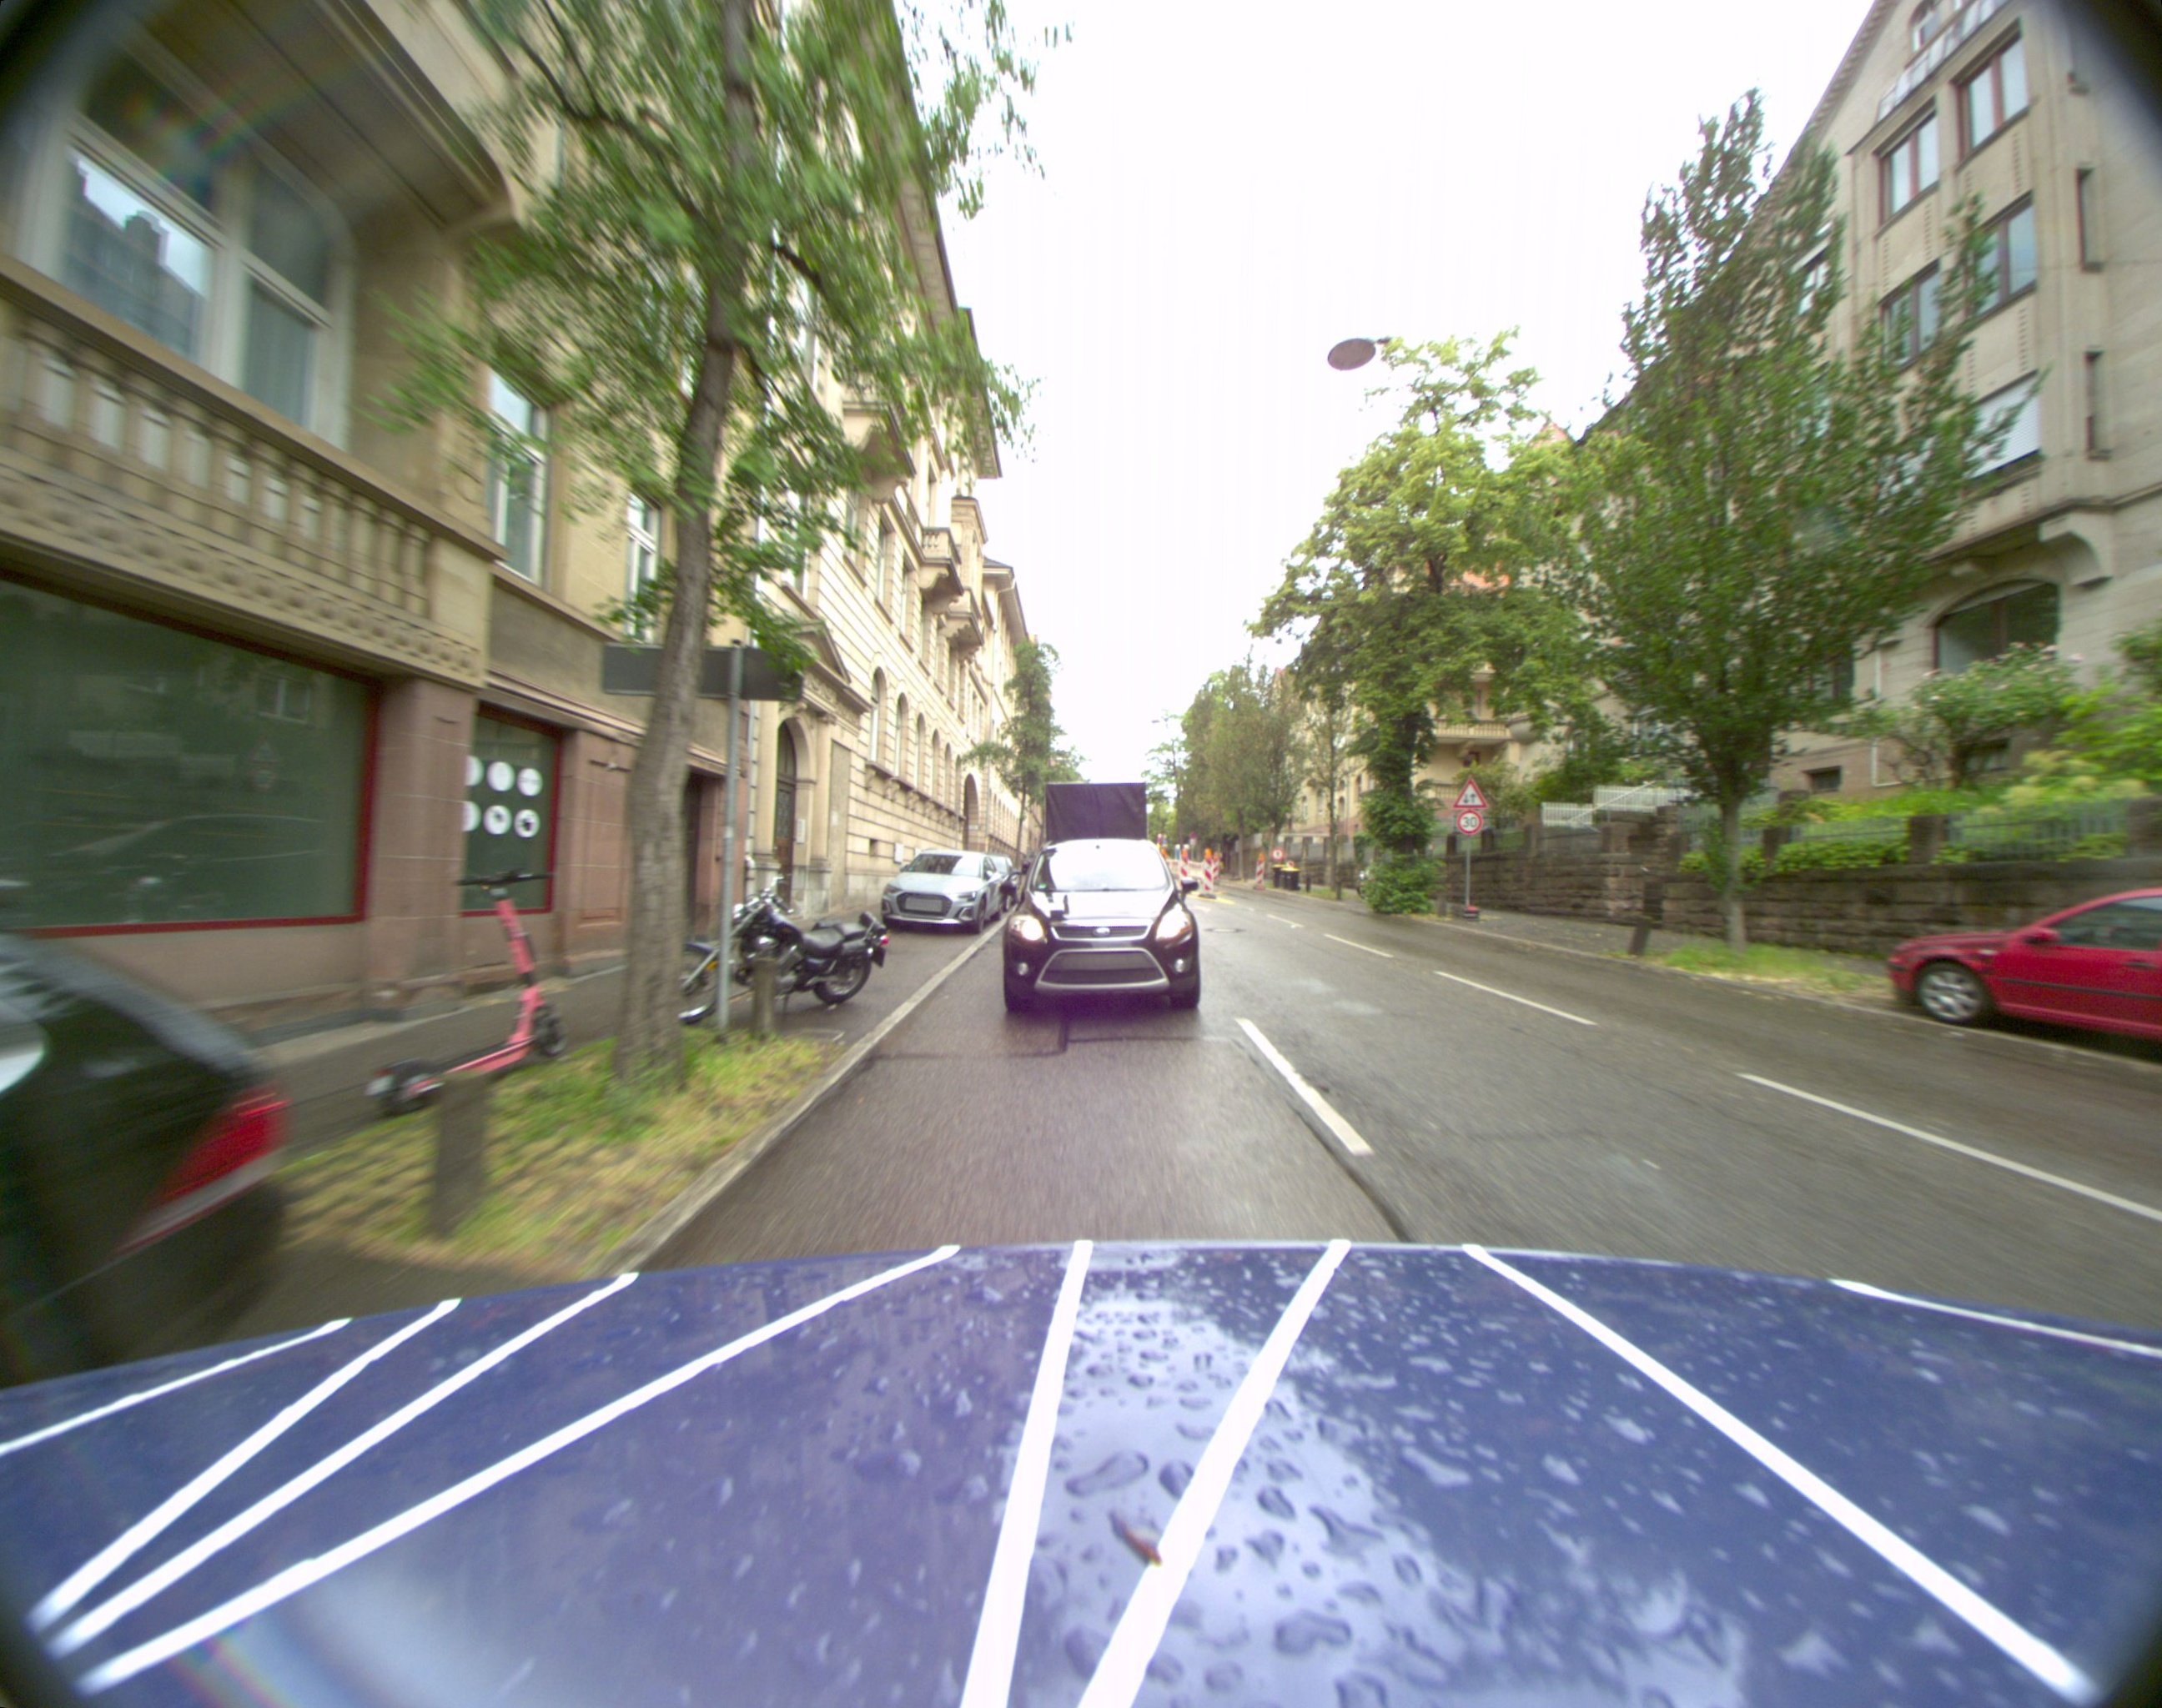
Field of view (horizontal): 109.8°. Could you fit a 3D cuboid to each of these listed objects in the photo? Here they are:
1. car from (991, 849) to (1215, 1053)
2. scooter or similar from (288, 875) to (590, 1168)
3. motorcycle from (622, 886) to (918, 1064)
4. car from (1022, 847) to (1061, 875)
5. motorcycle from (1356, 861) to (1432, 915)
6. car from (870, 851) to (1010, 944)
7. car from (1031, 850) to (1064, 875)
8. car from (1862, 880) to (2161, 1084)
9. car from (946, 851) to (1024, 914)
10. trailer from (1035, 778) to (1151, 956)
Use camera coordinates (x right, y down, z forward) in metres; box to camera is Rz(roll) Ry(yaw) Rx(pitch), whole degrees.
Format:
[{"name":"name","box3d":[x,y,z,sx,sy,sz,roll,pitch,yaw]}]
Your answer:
[{"name":"car","box3d":[0.240,0.779,8.463,1.823,1.663,4.522,0,1,1]},{"name":"scooter or similar","box3d":[-3.370,0.795,4.126,0.595,1.310,1.203,2,1,1]},{"name":"motorcycle","box3d":[-2.507,0.924,6.464,0.523,1.236,2.282,4,0,39]},{"name":"car","box3d":[-2.351,0.404,46.162,1.910,1.503,4.317,3,1,1]},{"name":"motorcycle","box3d":[8.948,0.921,21.910,0.802,1.406,3.061,-2,0,-2]},{"name":"car","box3d":[-2.550,0.711,14.740,1.794,1.444,4.038,3,1,1]},{"name":"car","box3d":[-2.242,0.551,52.171,1.910,1.503,4.317,3,1,1]},{"name":"car","box3d":[9.010,1.021,5.960,1.617,1.442,4.063,0,1,1]},{"name":"car","box3d":[-2.463,0.680,20.111,1.495,1.440,3.181,3,1,1]},{"name":"trailer","box3d":[0.181,0.165,14.162,1.783,2.744,4.816,0,1,0]}]
